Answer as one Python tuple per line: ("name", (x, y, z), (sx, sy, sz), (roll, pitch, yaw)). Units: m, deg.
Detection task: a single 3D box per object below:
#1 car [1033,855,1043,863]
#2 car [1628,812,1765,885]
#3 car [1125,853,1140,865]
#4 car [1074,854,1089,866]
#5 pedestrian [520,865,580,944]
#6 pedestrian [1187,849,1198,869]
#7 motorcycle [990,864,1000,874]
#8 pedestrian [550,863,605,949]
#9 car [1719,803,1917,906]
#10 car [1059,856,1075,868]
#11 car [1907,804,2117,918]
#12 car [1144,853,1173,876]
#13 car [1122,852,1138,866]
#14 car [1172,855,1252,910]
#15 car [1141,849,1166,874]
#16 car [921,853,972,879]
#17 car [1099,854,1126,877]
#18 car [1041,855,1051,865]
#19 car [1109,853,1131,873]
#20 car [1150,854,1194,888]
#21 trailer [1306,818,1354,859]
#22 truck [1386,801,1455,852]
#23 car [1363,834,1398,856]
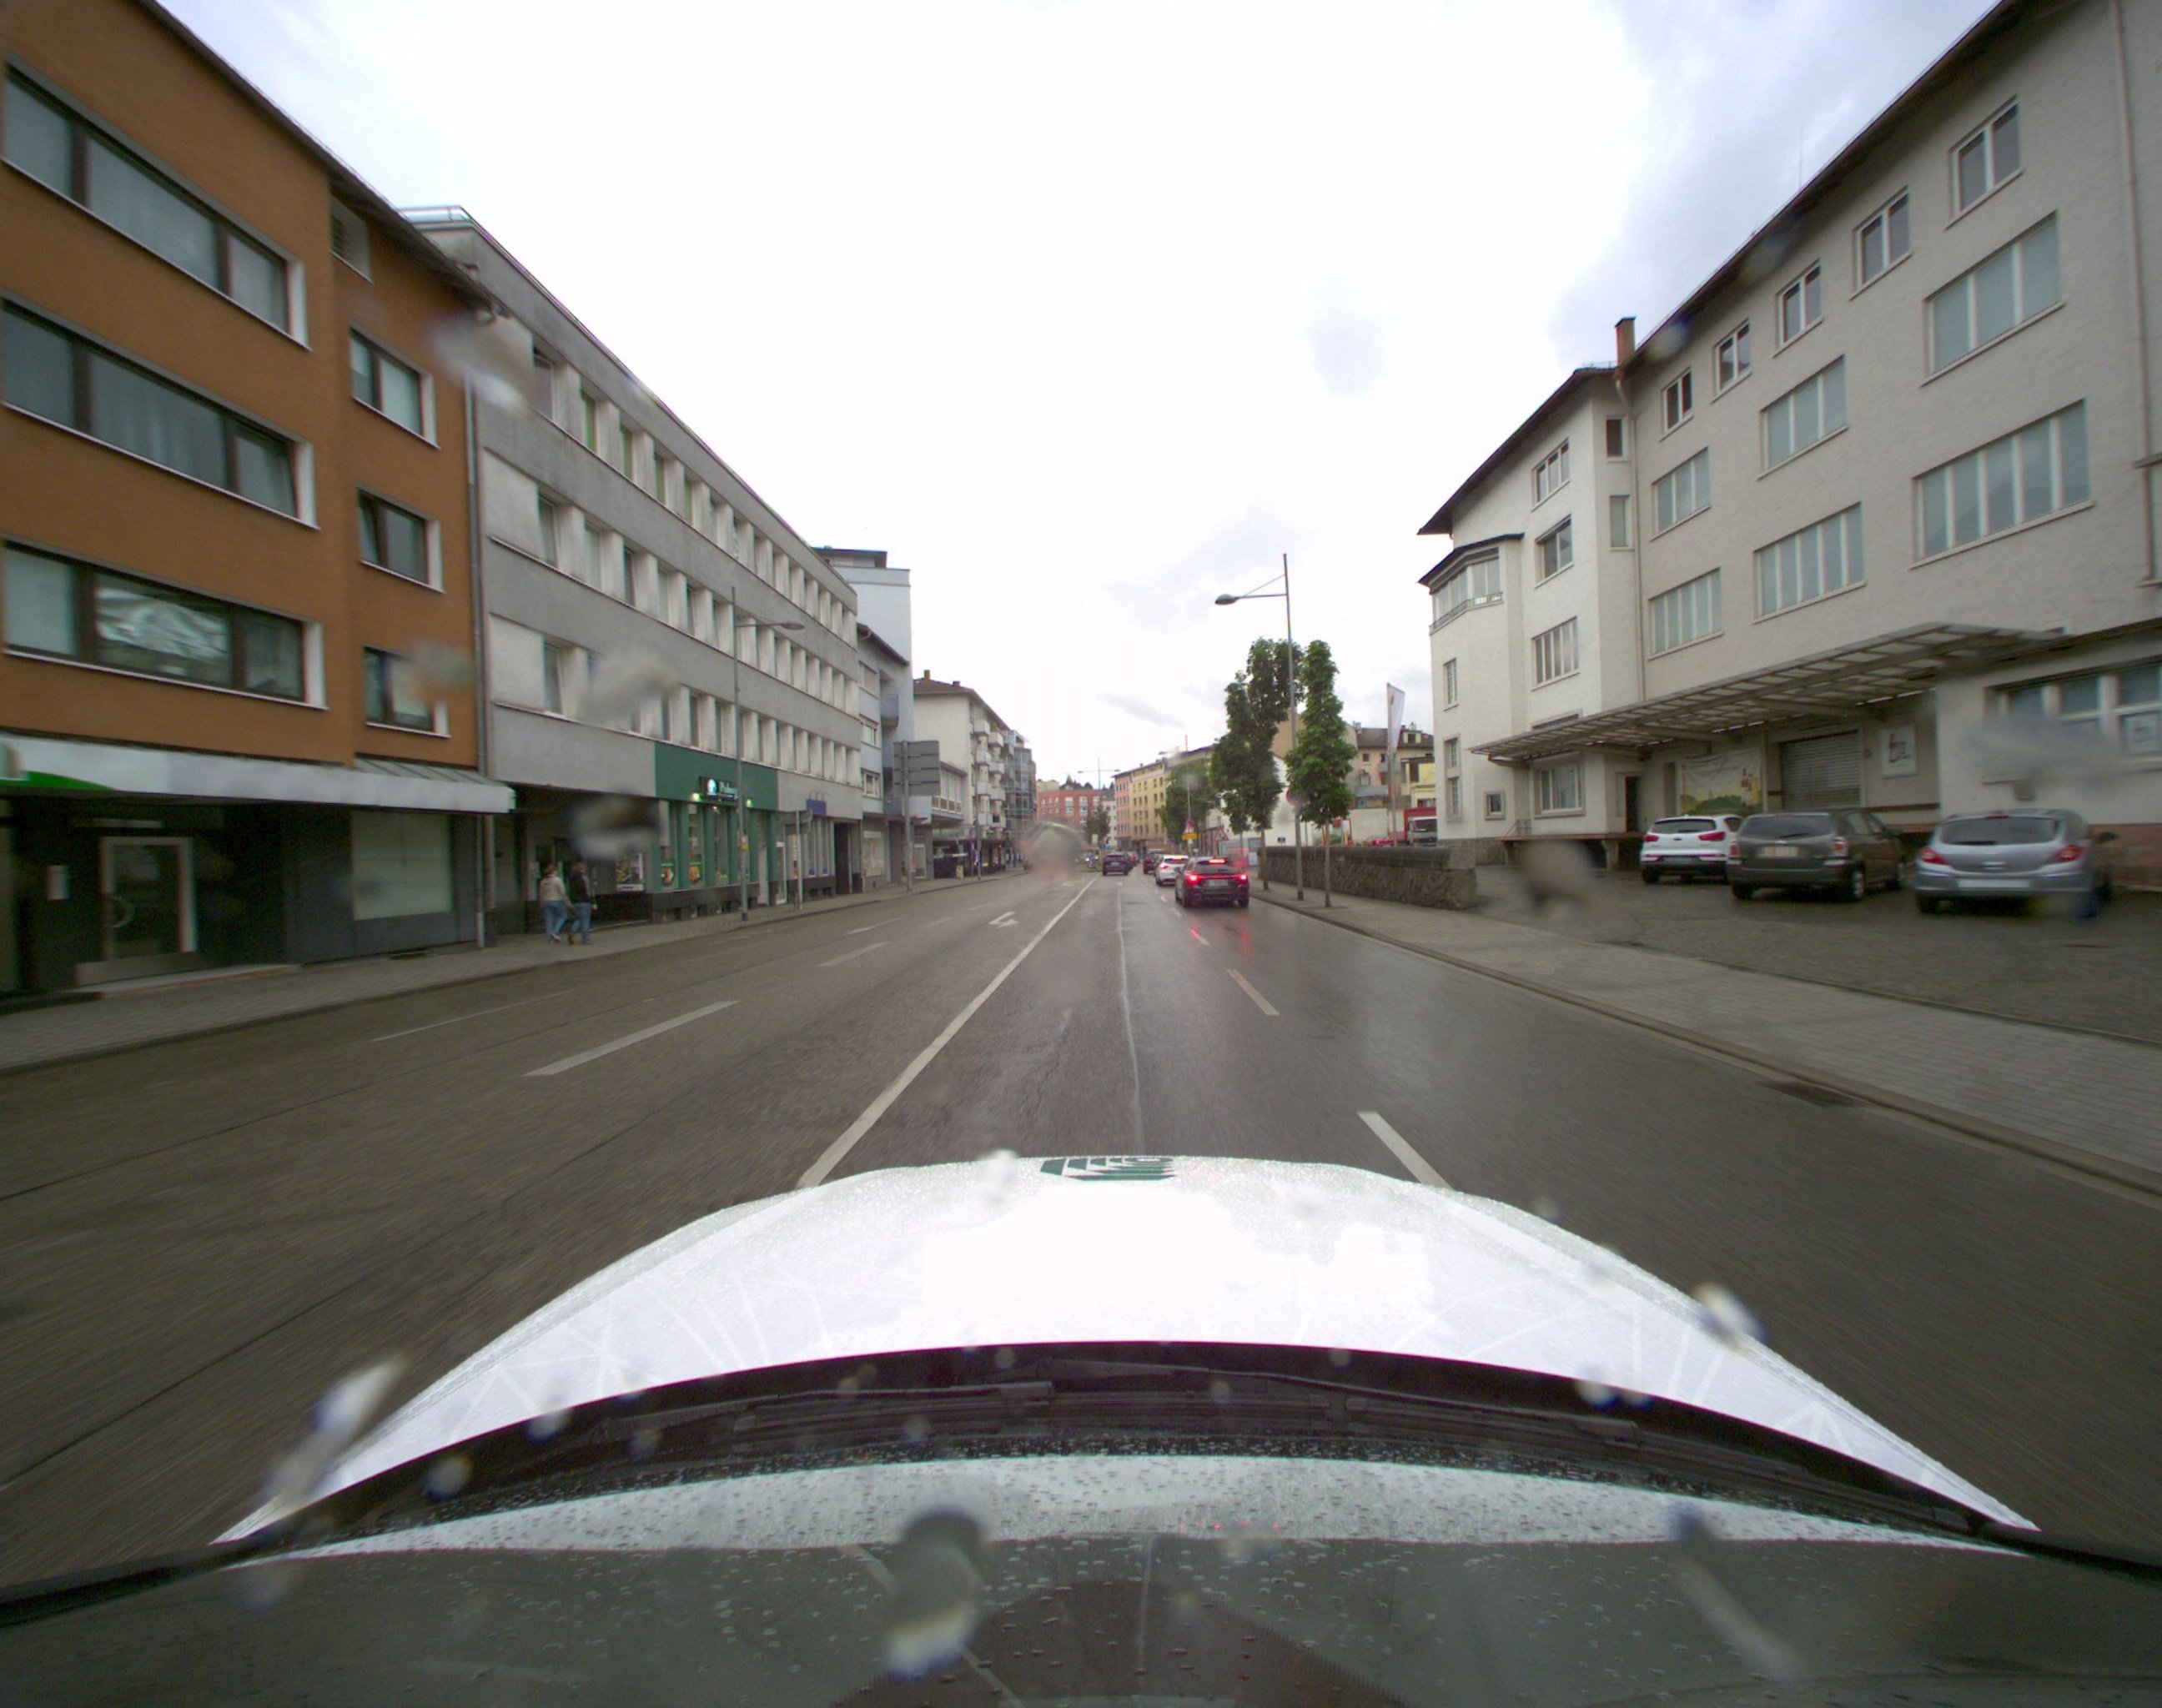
("car", (-7.770, 0.889, 146.720), (1.454, 1.430, 3.360), (0, 1, -8))
("car", (14.872, -0.101, 19.603), (4.003, 1.568, 1.904), (0, -1, -42))
("car", (6.387, 0.563, 101.100), (1.635, 1.381, 3.349), (-3, 0, 2))
("car", (0.092, 0.764, 104.910), (1.713, 1.423, 4.168), (-4, 0, 3))
("pedestrian", (-11.653, 1.089, 17.906), (0.627, 1.675, 0.909), (2, 0, 2))
("pedestrian", (10.420, 0.477, 76.224), (0.785, 1.755, 0.875), (-3, 0, 16))
("motorcycle", (-8.358, 1.470, 79.301), (0.523, 0.995, 2.139), (0, 0, 4))
("pedestrian", (-10.981, 1.110, 17.781), (0.572, 1.788, 0.827), (2, 0, 3))
("car", (13.684, -0.048, 15.069), (4.016, 1.583, 1.753), (-4, 1, -33))
("car", (-1.907, 1.011, 110.209), (1.701, 1.468, 4.834), (-5, 0, 4))
("car", (14.146, 0.060, 12.326), (3.857, 1.400, 1.626), (-4, 0, -35))
("car", (5.099, 0.665, 53.233), (1.777, 1.400, 3.725), (-1, 0, 7))
("car", (5.400, 0.518, 89.829), (1.635, 1.381, 3.349), (-3, 0, 2))
("car", (3.814, 0.778, 24.454), (1.782, 1.403, 4.636), (-3, 0, 2))
("car", (5.481, 0.552, 61.449), (1.822, 1.805, 3.724), (0, 1, 5))
("car", (-11.418, 1.022, 69.388), (3.947, 2.034, 1.581), (-2, 0, 3))
("car", (2.320, 0.805, 59.031), (1.815, 1.600, 3.722), (0, 0, 4))
("car", (-5.844, 1.014, 134.944), (1.548, 1.570, 3.341), (0, -1, -6))
("car", (3.339, 0.741, 69.295), (1.815, 1.600, 3.722), (0, 0, 4))
("car", (4.301, 0.764, 38.916), (1.659, 1.396, 3.868), (-3, 1, 1))
("trailer", (18.165, -1.104, 59.674), (2.117, 2.716, 5.399), (-4, 0, 5))
("truck", (24.068, -1.845, 58.063), (2.617, 3.215, 6.943), (-4, 0, 7))
("car", (21.406, -0.601, 58.276), (1.581, 1.456, 3.271), (-3, 0, 7))
